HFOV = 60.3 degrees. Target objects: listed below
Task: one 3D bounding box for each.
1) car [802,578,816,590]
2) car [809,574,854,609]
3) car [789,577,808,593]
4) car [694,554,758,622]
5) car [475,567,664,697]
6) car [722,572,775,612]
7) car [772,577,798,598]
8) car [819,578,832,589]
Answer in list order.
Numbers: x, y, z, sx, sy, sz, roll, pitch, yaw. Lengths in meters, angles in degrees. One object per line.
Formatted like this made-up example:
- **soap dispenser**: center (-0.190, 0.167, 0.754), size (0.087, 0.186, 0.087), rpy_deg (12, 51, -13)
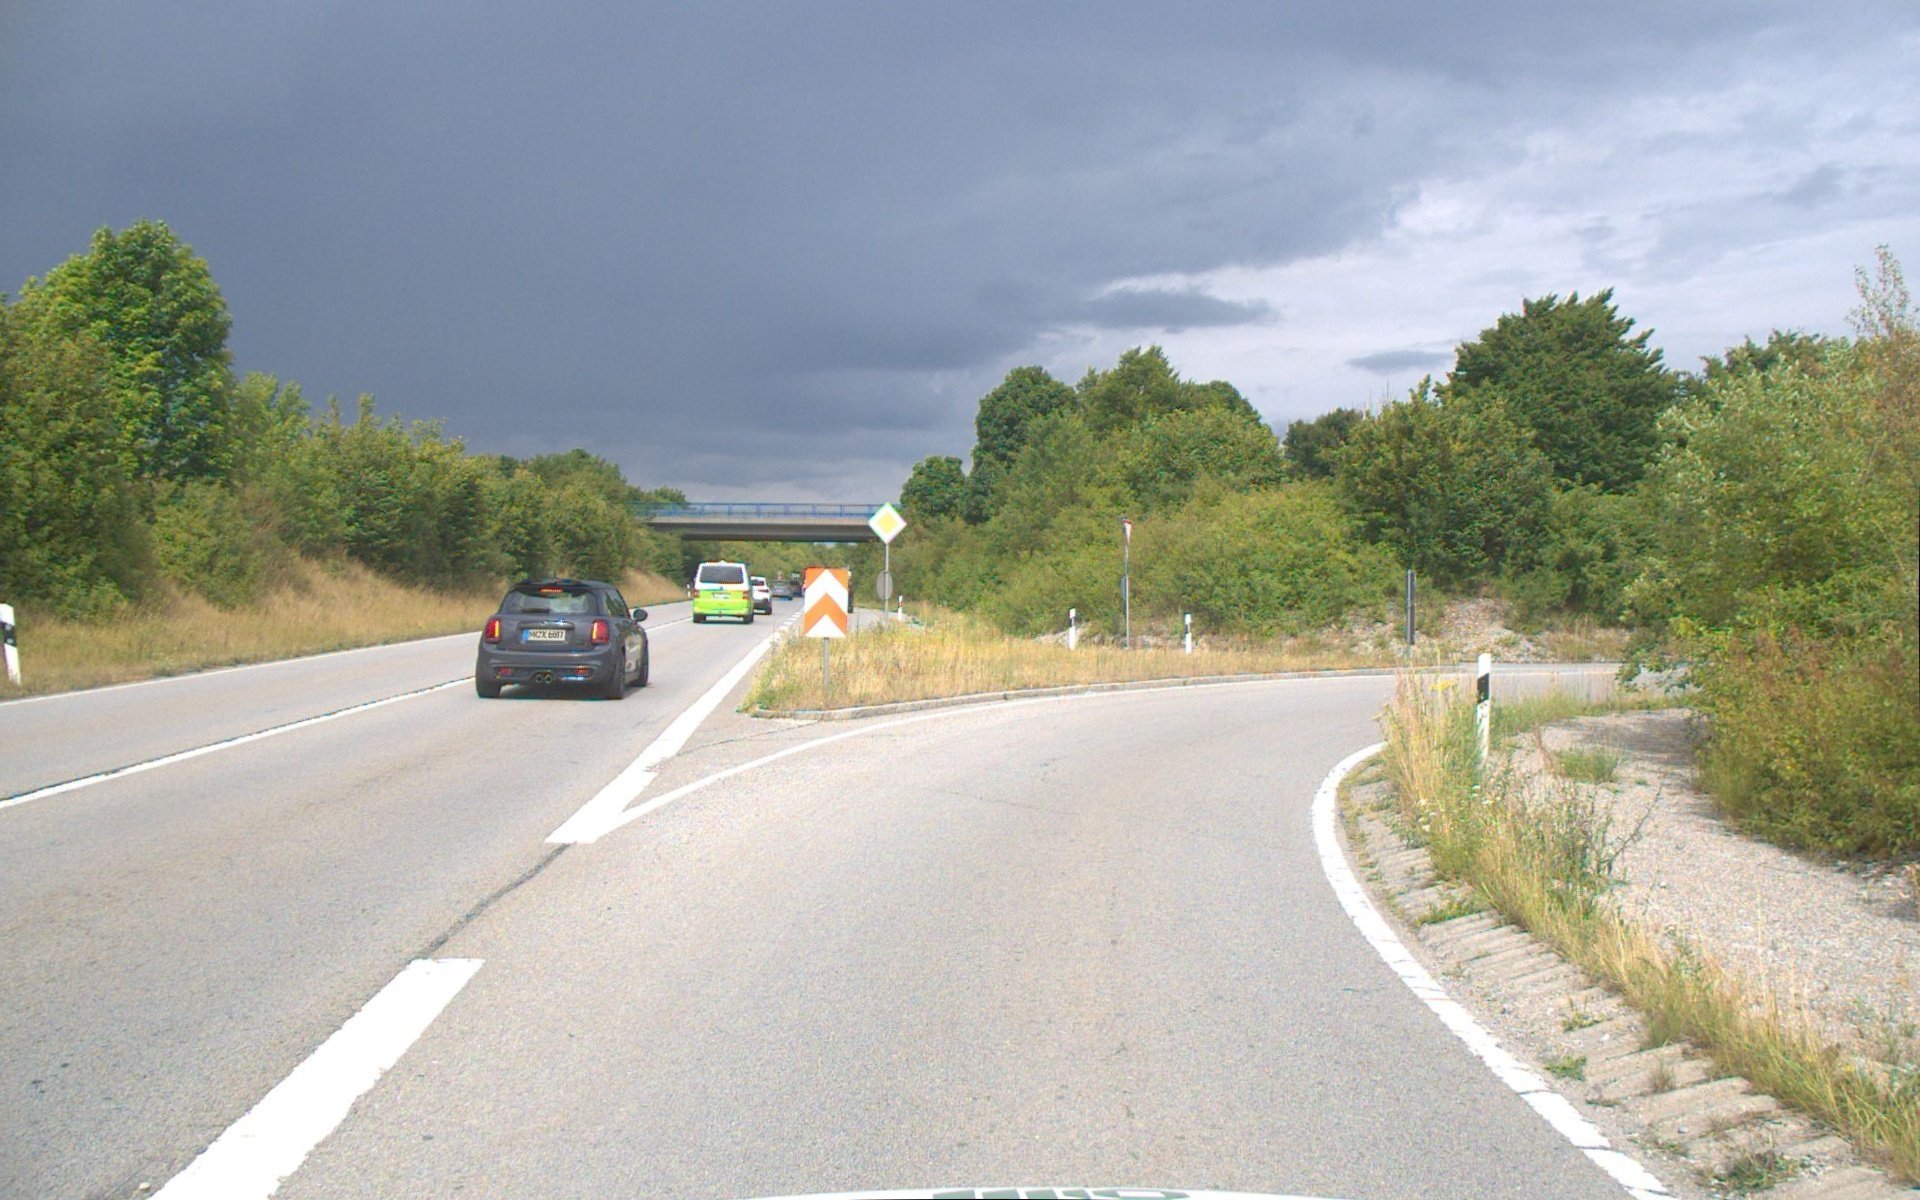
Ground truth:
- **car**: center (-18.634, -1.992, 204.236), size (1.634, 1.427, 3.996), rpy_deg (2, 1, -5)
- **car**: center (-6.183, -0.425, 79.210), size (1.955, 1.579, 3.995), rpy_deg (2, 1, -7)
- **car**: center (-14.583, -1.357, 149.511), size (1.634, 1.427, 3.997), rpy_deg (2, 1, -4)
- **car**: center (-7.729, -0.410, 54.884), size (1.784, 2.090, 3.996), rpy_deg (2, 0, -5)
- **car**: center (-4.886, 0.349, 21.210), size (1.722, 1.452, 3.996), rpy_deg (2, 1, -5)
- **car**: center (-8.917, -0.363, 69.931), size (1.955, 1.579, 3.996), rpy_deg (2, 1, -5)
- **car**: center (-12.625, -0.936, 119.554), size (1.634, 1.427, 3.998), rpy_deg (2, 1, -3)
- **car**: center (-18.478, -2.220, 227.493), size (1.633, 1.427, 3.999), rpy_deg (2, 1, -2)
